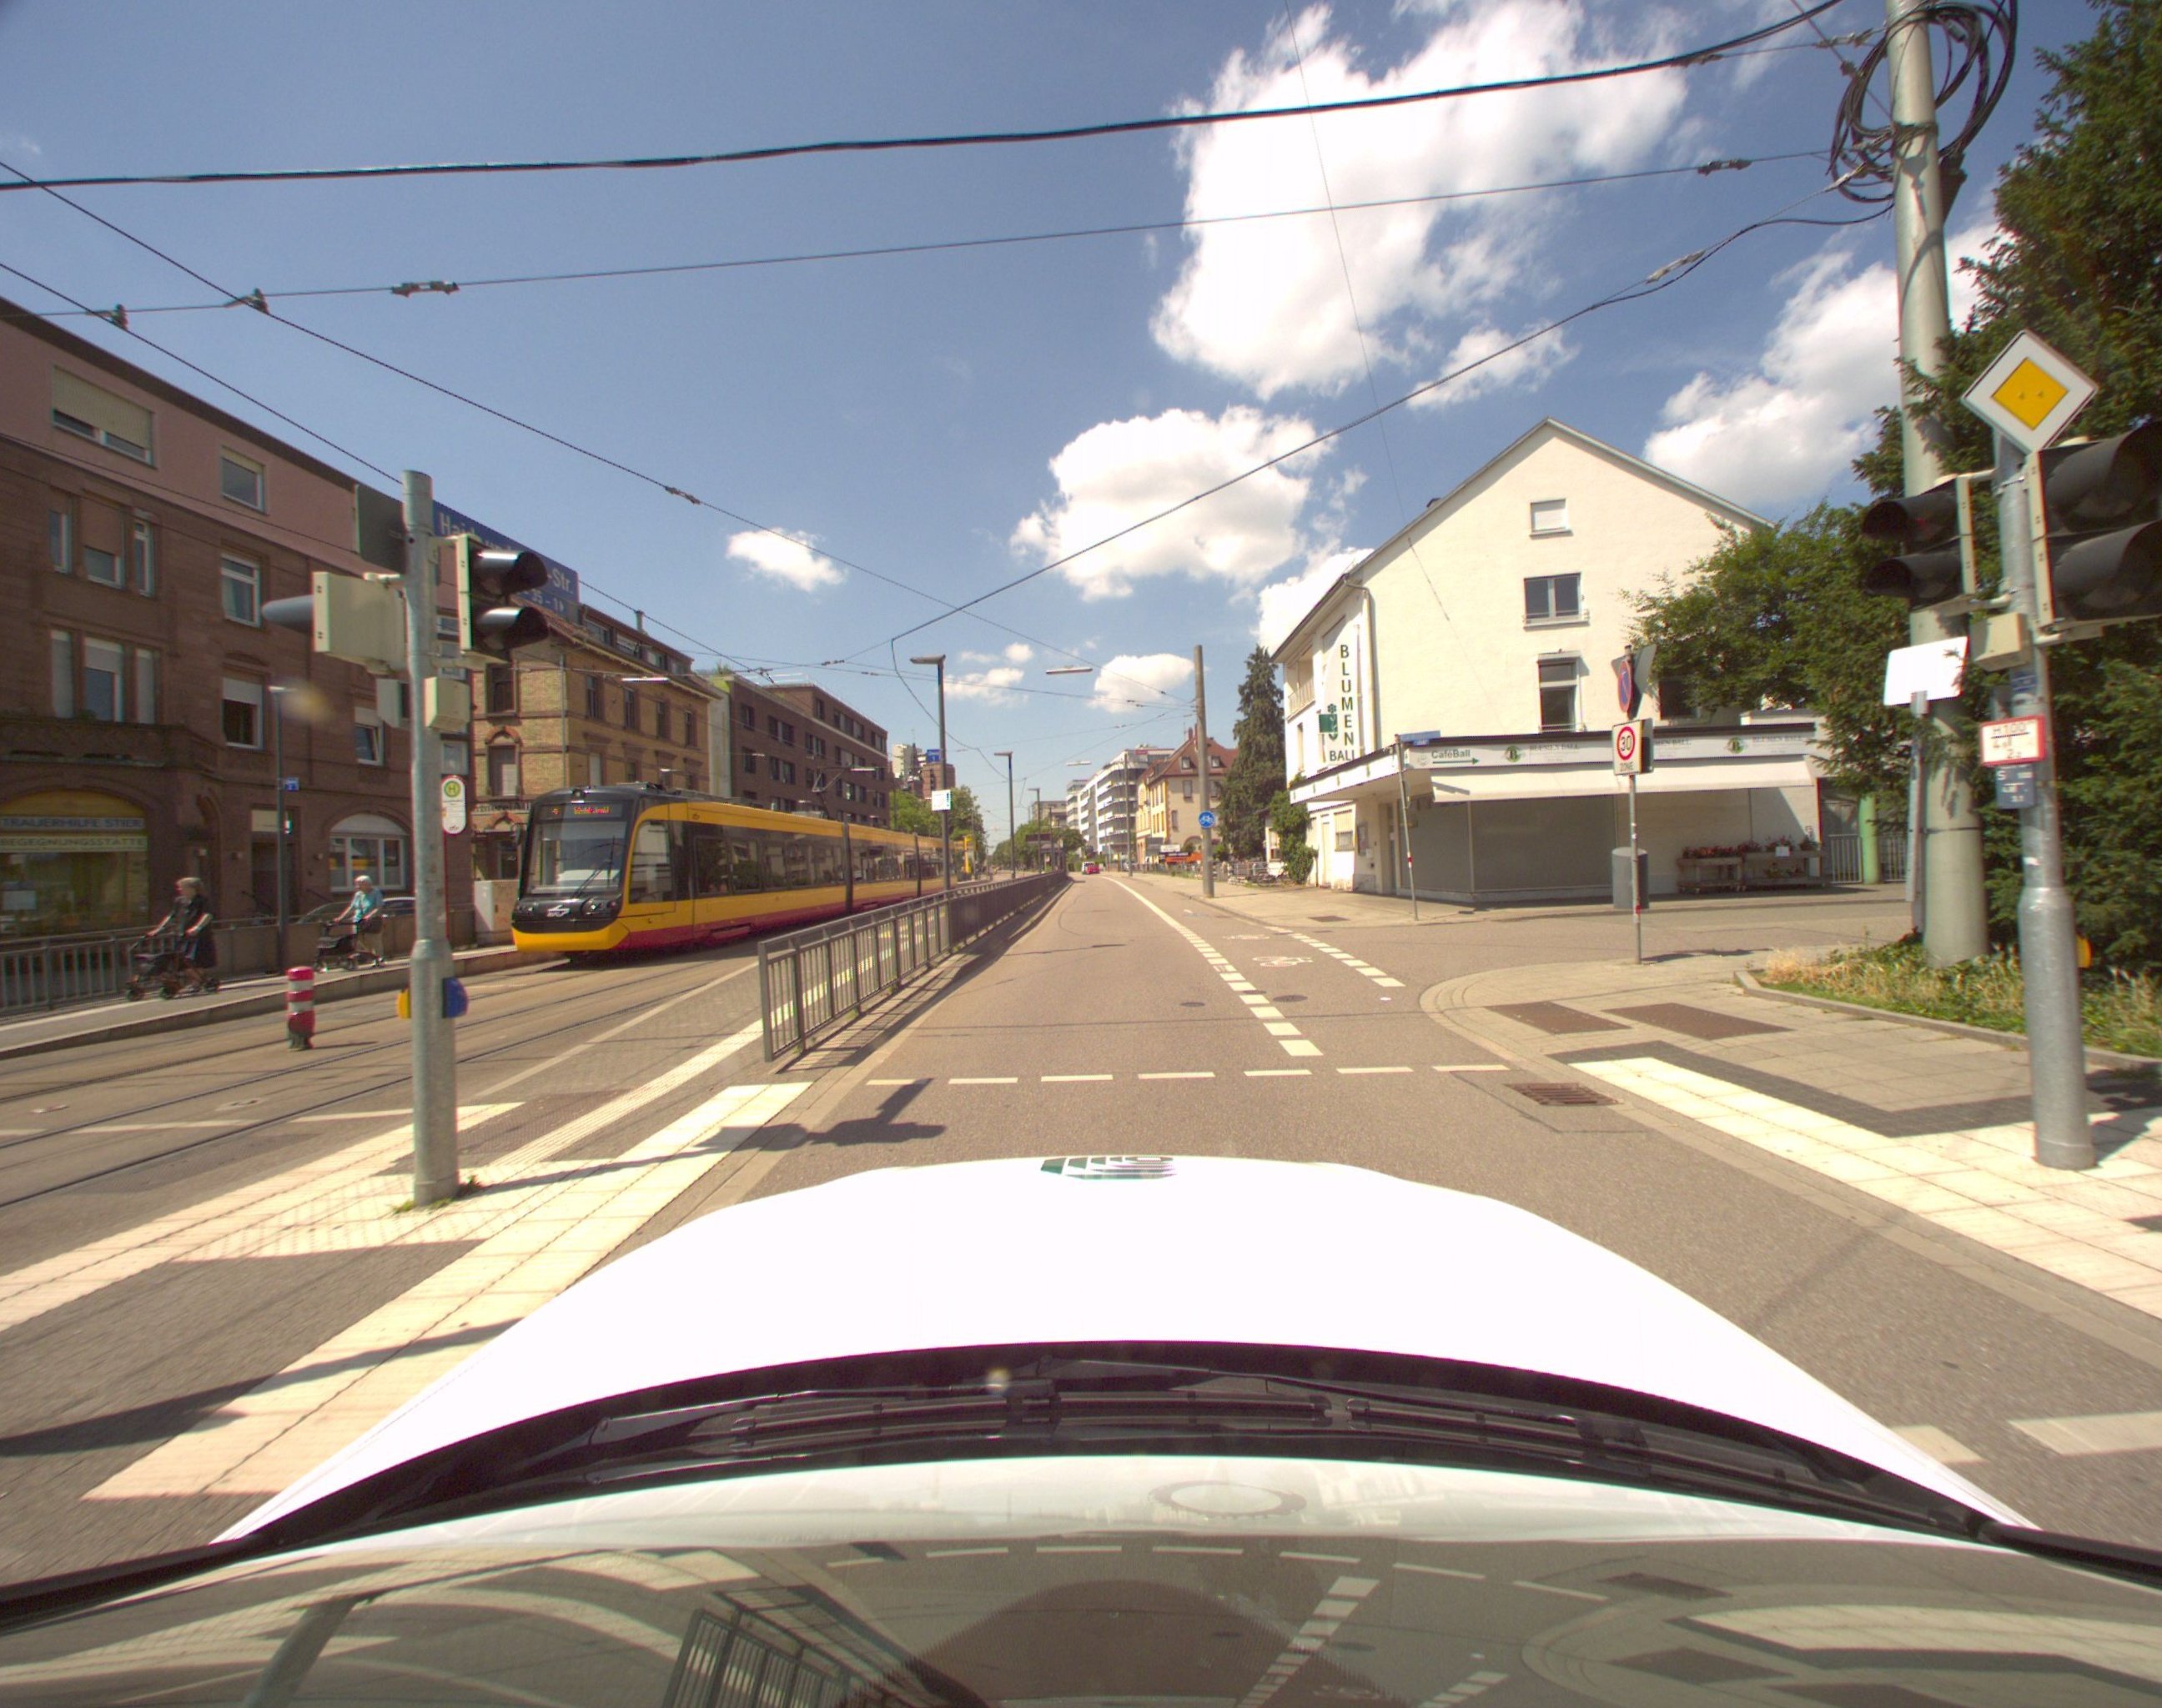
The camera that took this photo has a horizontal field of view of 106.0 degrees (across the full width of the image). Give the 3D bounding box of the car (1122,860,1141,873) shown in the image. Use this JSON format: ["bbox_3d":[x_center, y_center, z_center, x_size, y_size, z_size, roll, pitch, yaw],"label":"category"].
[{"bbox_3d":[7.178,1.767,116.211,1.875,1.624,4.632,-5,-1,-4],"label":"car"}]

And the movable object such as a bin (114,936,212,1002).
[{"bbox_3d":[-12.375,1.541,10.992,0.673,0.780,0.538,-3,-1,-1],"label":"movable object such as a bin"}]

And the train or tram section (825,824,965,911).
[{"bbox_3d":[-9.097,0.721,42.930,3.224,3.567,16.349,-3,-1,1],"label":"train or tram section"}]

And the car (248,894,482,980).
[{"bbox_3d":[-15.638,1.742,18.080,1.644,1.456,3.791,-4,-1,3],"label":"car"}]

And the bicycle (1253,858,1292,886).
[{"bbox_3d":[8.231,0.760,35.122,1.525,1.086,0.430,-4,-1,6],"label":"bicycle"}]

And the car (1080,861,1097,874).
[{"bbox_3d":[1.191,2.227,132.428,1.992,1.991,5.501,-4,-1,-7],"label":"car"}]

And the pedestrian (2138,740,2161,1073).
[{"bbox_3d":[4.867,0.326,3.188,0.558,1.666,0.685,-3,-1,23],"label":"pedestrian"}]

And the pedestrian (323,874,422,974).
[{"bbox_3d":[-11.760,1.140,13.551,0.783,1.560,0.920,-3,-1,0],"label":"pedestrian"}]

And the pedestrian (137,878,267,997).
[{"bbox_3d":[-12.395,1.143,11.519,0.783,1.560,0.920,-3,-1,0],"label":"pedestrian"}]

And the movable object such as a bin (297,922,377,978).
[{"bbox_3d":[-11.781,1.513,12.907,0.673,0.780,0.619,-3,-1,-1],"label":"movable object such as a bin"}]

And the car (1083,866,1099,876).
[{"bbox_3d":[1.574,2.592,125.649,1.990,1.442,4.009,-2,-1,-5],"label":"car"}]

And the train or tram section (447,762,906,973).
[{"bbox_3d":[-9.367,0.436,24.633,3.239,3.567,20.501,-3,-1,1],"label":"train or tram section"}]
